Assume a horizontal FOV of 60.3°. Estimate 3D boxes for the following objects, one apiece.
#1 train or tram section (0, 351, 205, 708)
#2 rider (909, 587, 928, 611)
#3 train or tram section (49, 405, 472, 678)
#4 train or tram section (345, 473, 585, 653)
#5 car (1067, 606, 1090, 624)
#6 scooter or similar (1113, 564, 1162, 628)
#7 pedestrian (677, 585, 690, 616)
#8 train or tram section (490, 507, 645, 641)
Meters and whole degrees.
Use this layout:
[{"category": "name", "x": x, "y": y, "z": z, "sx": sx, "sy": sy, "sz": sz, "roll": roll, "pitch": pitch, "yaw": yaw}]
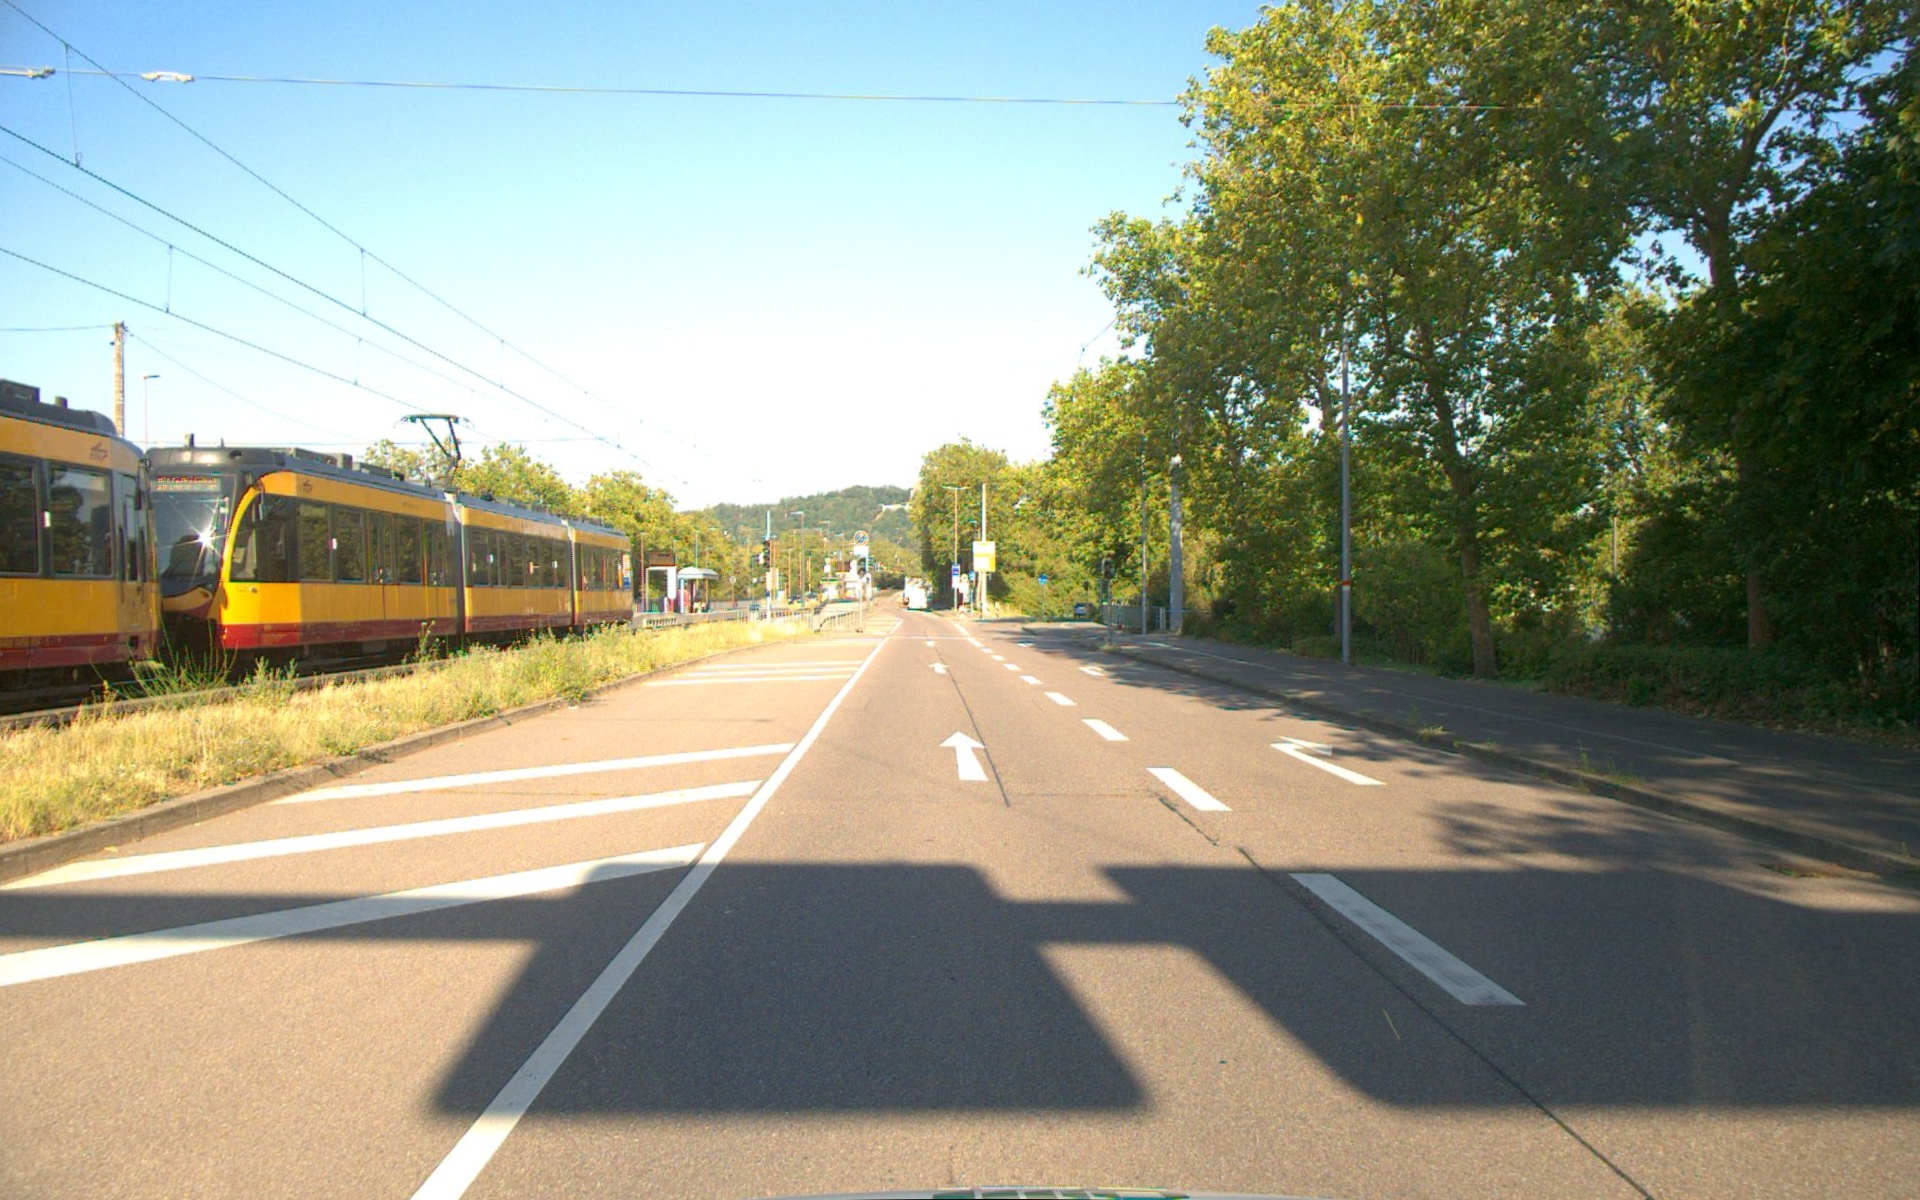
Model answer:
[{"category": "train or tram section", "x": -12.059, "y": -0.810, "z": 17.747, "sx": 2.747, "sy": 3.971, "sz": 11.808, "roll": 1, "pitch": 0, "yaw": -2}, {"category": "rider", "x": -4.731, "y": -0.156, "z": 187.636, "sx": 2.064, "sy": 2.693, "sz": 0.737, "roll": 0, "pitch": 0, "yaw": 4}, {"category": "train or tram section", "x": -12.348, "y": -0.852, "z": 31.131, "sx": 2.767, "sy": 4.020, "sz": 12.703, "roll": 1, "pitch": 0, "yaw": -1}, {"category": "train or tram section", "x": -12.645, "y": -0.807, "z": 43.807, "sx": 2.767, "sy": 4.020, "sz": 12.649, "roll": 1, "pitch": 0, "yaw": -1}, {"category": "car", "x": 11.328, "y": 1.424, "z": 157.836, "sx": 2.042, "sy": 1.593, "sz": 3.957, "roll": 1, "pitch": 0, "yaw": 5}, {"category": "scooter or similar", "x": 8.052, "y": -0.168, "z": 75.331, "sx": 1.647, "sy": 2.763, "sz": 4.868, "roll": 1, "pitch": 0, "yaw": -1}, {"category": "pedestrian", "x": -18.301, "y": 0.038, "z": 109.598, "sx": 0.729, "sy": 2.049, "sz": 0.608, "roll": 1, "pitch": -1, "yaw": -1}, {"category": "train or tram section", "x": -12.923, "y": -0.765, "z": 55.550, "sx": 2.767, "sy": 4.020, "sz": 10.831, "roll": 1, "pitch": 0, "yaw": -1}]
